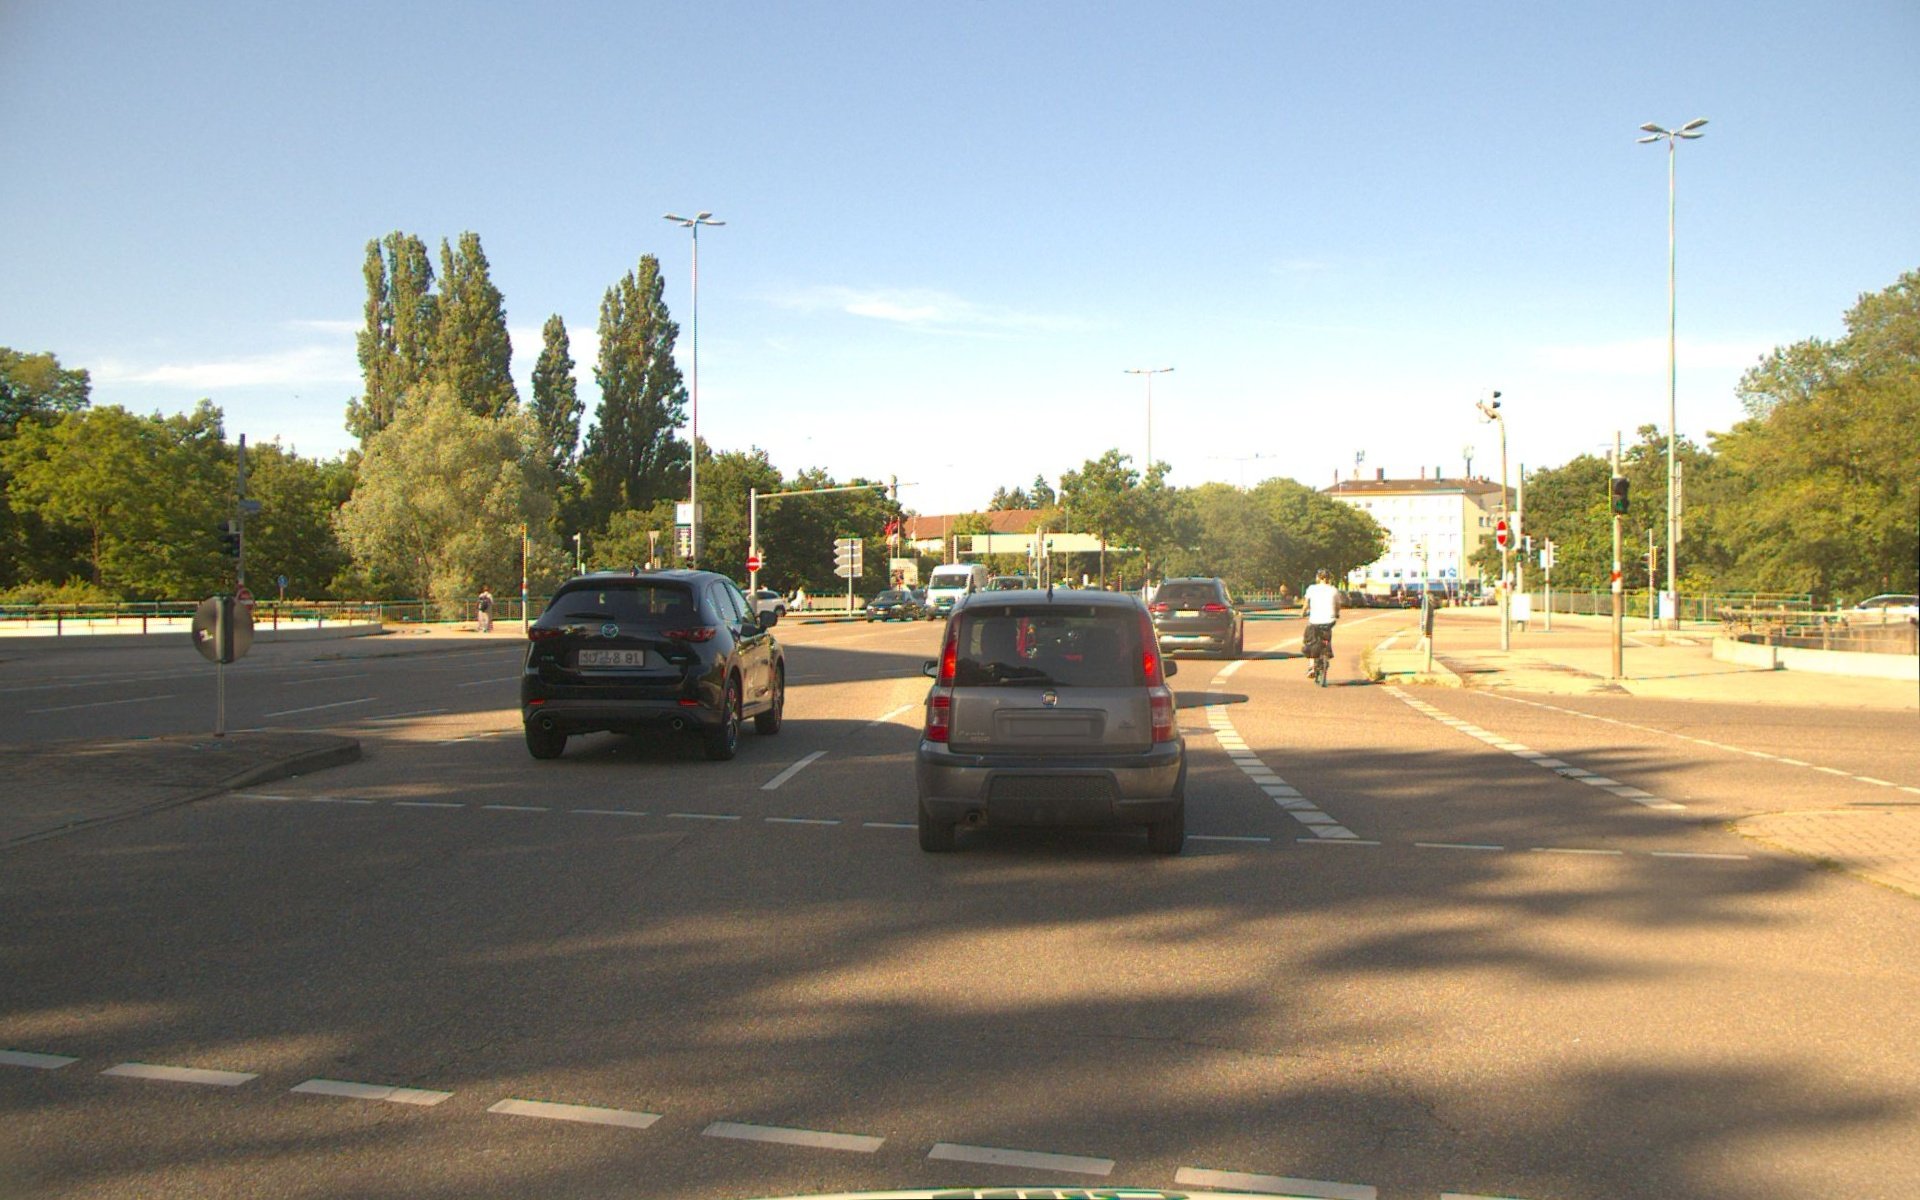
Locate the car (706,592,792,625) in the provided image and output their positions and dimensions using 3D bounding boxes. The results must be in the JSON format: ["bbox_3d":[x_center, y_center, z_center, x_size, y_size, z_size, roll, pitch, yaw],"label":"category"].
[{"bbox_3d":[-10.720,0.420,84.281,1.751,1.562,4.307,1,1,39],"label":"car"}]

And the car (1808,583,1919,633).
[{"bbox_3d":[30.257,0.255,54.179,4.165,1.579,1.852,0,0,40],"label":"car"}]

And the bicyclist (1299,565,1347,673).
[{"bbox_3d":[5.818,0.296,26.547,0.708,1.688,1.114,1,0,12],"label":"bicyclist"}]

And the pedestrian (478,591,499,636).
[{"bbox_3d":[-15.914,0.448,55.803,0.668,1.489,0.700,0,0,-15],"label":"pedestrian"}]

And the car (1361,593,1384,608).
[{"bbox_3d":[42.161,0.029,169.023,1.905,1.555,4.099,0,0,19],"label":"car"}]

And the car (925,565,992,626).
[{"bbox_3d":[-0.018,-0.213,74.219,1.895,2.621,6.094,0,0,11],"label":"car"}]

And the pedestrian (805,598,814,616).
[{"bbox_3d":[-9.524,0.443,104.771,0.414,1.156,0.398,1,-2,16],"label":"pedestrian"}]

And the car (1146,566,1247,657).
[{"bbox_3d":[5.347,0.238,37.064,1.904,1.872,4.156,2,0,12],"label":"car"}]

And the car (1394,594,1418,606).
[{"bbox_3d":[58.680,0.001,217.710,1.910,1.555,4.086,0,0,33],"label":"car"}]

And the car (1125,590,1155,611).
[{"bbox_3d":[14.327,0.043,131.597,1.895,1.650,4.510,0,0,12],"label":"car"}]

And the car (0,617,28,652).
[{"bbox_3d":[-44.657,1.563,74.926,3.902,1.534,2.002,0,0,12],"label":"car"}]

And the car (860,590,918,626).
[{"bbox_3d":[-3.201,0.337,74.999,1.895,1.534,4.003,-2,0,8],"label":"car"}]

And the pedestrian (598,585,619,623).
[{"bbox_3d":[-15.097,0.174,71.037,0.700,1.574,0.723,-1,-1,-25],"label":"pedestrian"}]

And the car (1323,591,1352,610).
[{"bbox_3d":[31.373,0.063,137.419,1.904,1.555,4.099,0,0,18],"label":"car"}]

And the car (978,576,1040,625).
[{"bbox_3d":[2.142,0.010,71.110,1.895,2.043,4.936,0,0,11],"label":"car"}]

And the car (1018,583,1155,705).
[{"bbox_3d":[1.784,0.540,22.423,1.583,1.488,3.754,1,0,8],"label":"car"}]

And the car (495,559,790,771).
[{"bbox_3d":[-2.833,0.533,15.697,1.835,1.739,4.198,0,0,2],"label":"car"}]

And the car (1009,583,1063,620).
[{"bbox_3d":[3.570,0.053,77.118,1.895,1.650,4.510,0,0,11],"label":"car"}]

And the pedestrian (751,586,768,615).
[{"bbox_3d":[-12.028,0.019,99.416,0.773,1.693,0.629,1,-2,23],"label":"pedestrian"}]

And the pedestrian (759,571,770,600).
[{"bbox_3d":[-11.775,-0.875,99.549,0.488,1.731,0.500,1,-2,15],"label":"pedestrian"}]

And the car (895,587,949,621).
[{"bbox_3d":[-1.850,0.186,82.085,1.772,1.568,4.621,-2,0,10],"label":"car"}]

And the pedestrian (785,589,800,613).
[{"bbox_3d":[-10.821,0.053,106.876,0.658,1.529,0.778,0,-2,30],"label":"pedestrian"}]

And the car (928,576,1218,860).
[{"bbox_3d":[0.714,0.641,11.036,1.583,1.542,3.821,1,0,3],"label":"car"}]

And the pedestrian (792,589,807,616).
[{"bbox_3d":[-10.166,0.151,104.810,0.705,1.670,0.673,1,-2,16],"label":"pedestrian"}]

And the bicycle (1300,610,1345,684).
[{"bbox_3d":[5.809,0.730,26.552,0.676,1.121,1.828,1,0,12],"label":"bicycle"}]

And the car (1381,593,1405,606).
[{"bbox_3d":[53.239,-0.063,203.322,1.908,1.555,4.092,0,0,27],"label":"car"}]

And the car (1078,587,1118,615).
[{"bbox_3d":[8.472,0.061,101.207,1.895,1.650,4.510,0,0,12],"label":"car"}]

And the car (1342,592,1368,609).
[{"bbox_3d":[36.286,0.020,151.832,1.904,1.555,4.099,0,0,19],"label":"car"}]
